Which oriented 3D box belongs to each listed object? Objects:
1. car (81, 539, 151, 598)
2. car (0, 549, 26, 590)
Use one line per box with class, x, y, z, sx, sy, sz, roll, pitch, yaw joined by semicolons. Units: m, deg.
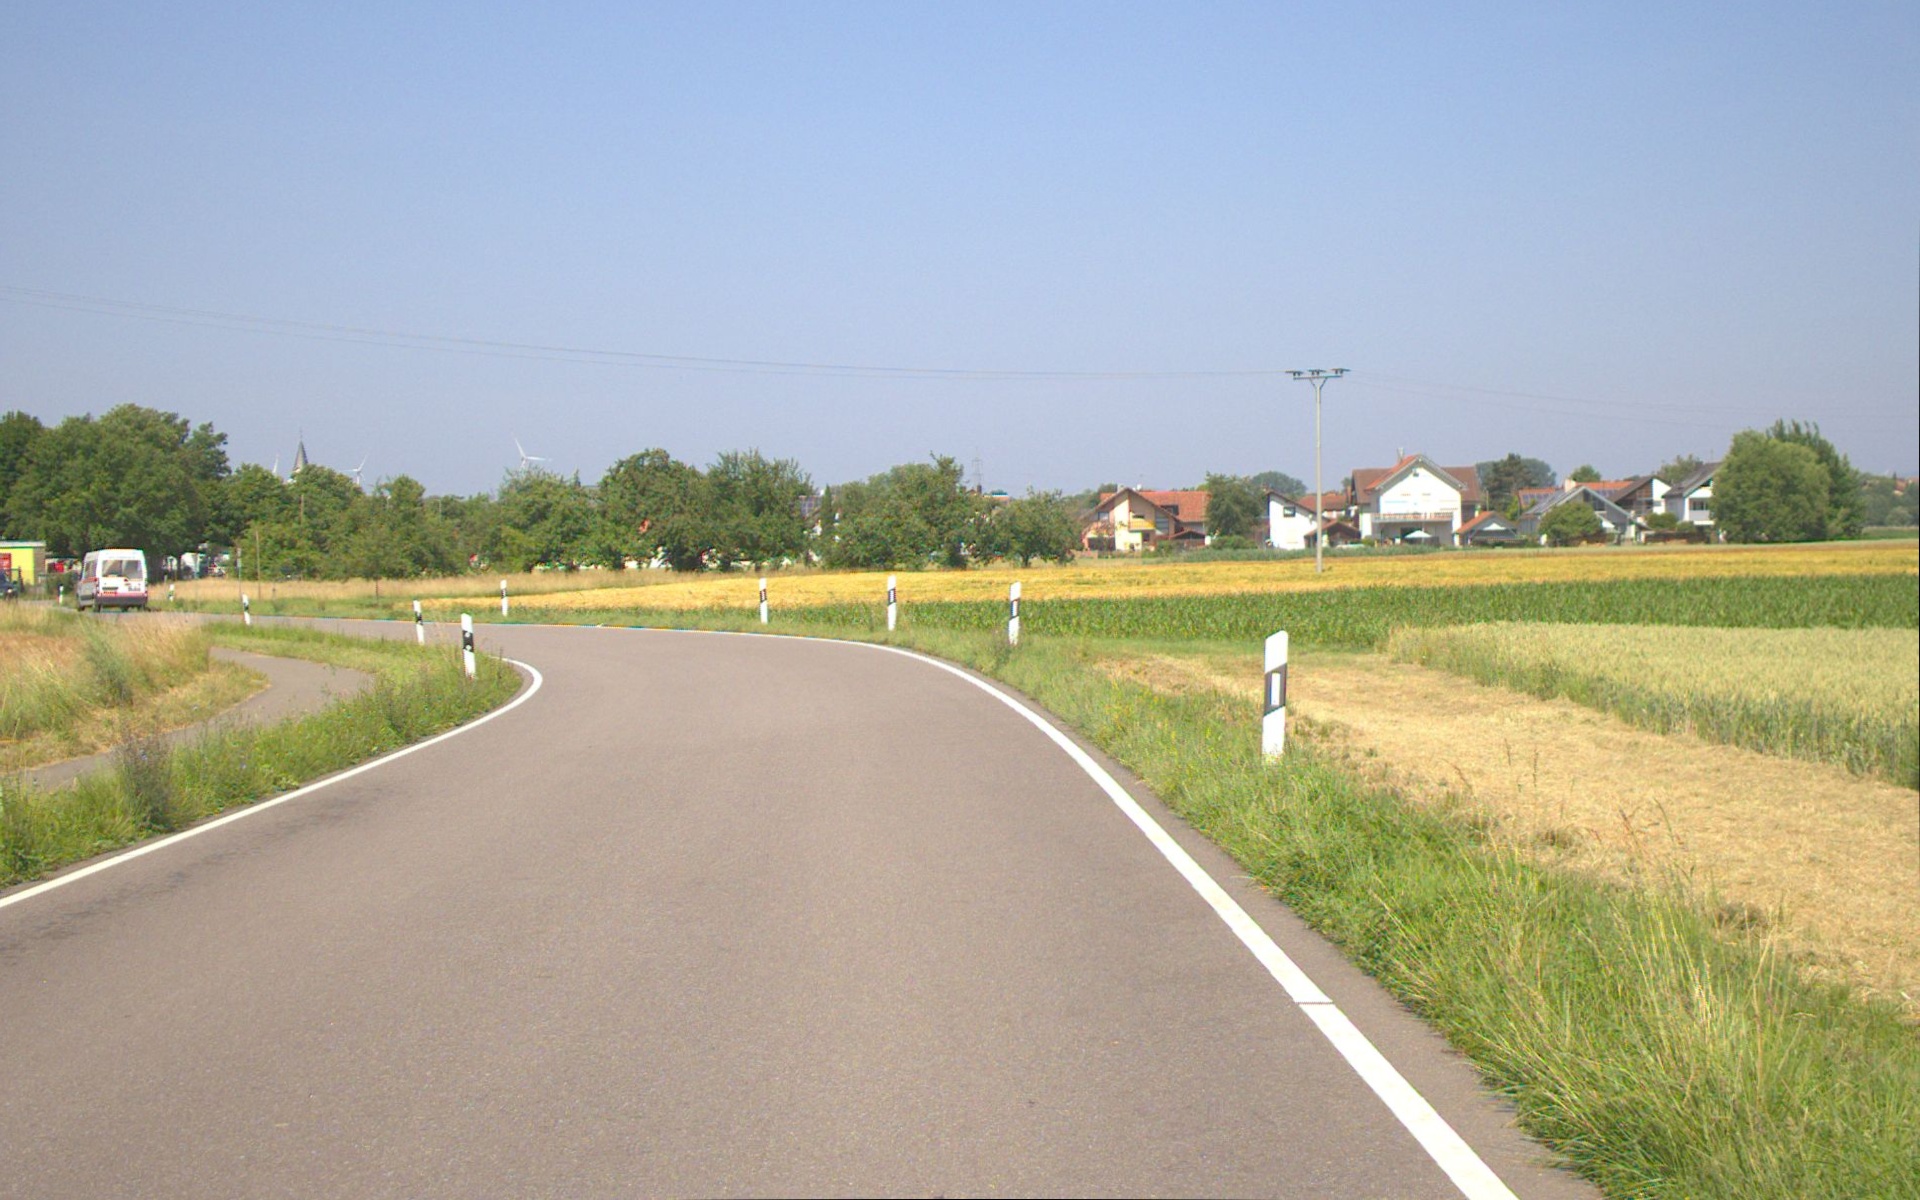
car;-33.569;-1.280;136.646;1.993;2.258;4.727;-2;1;-22
car;-41.565;-1.285;148.308;1.886;1.709;4.015;-3;2;-22
